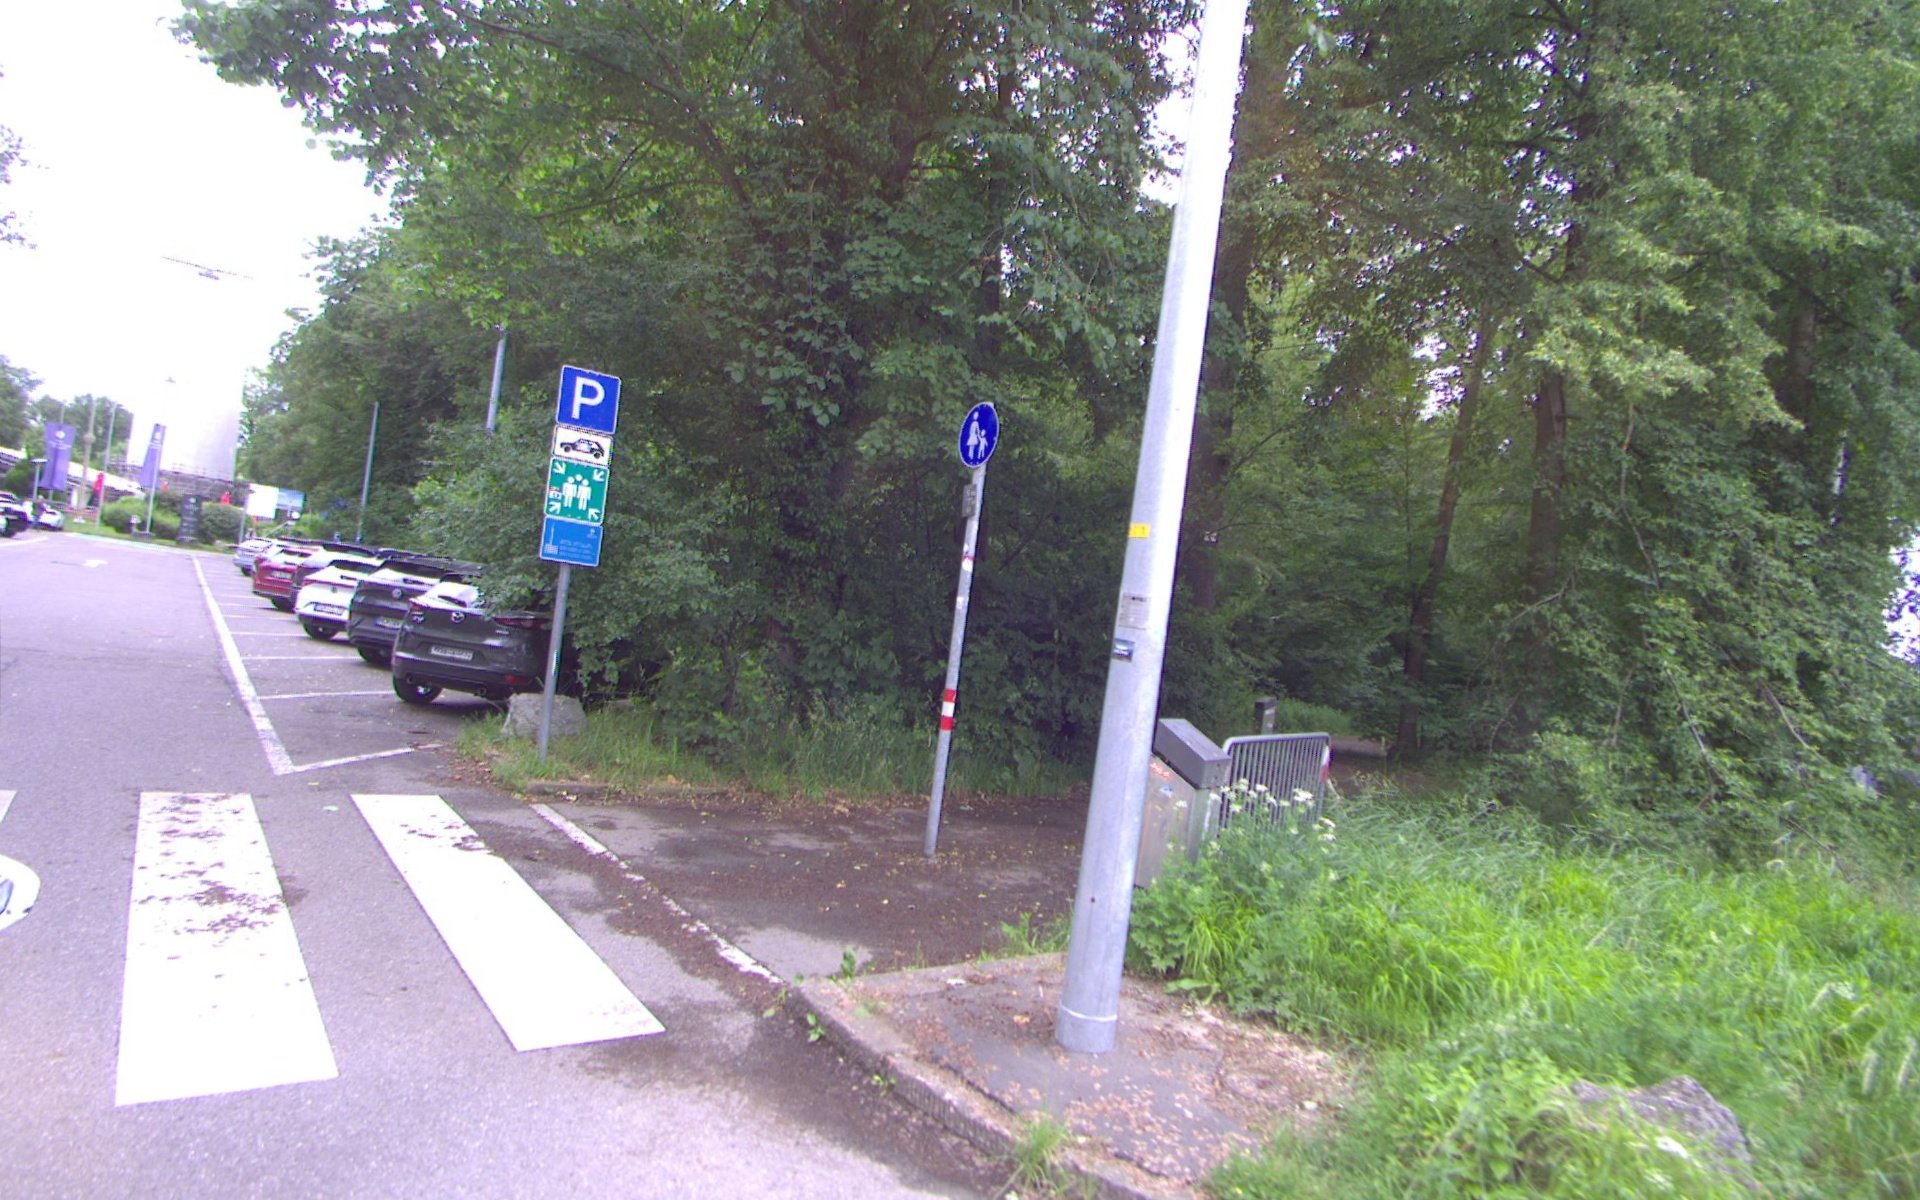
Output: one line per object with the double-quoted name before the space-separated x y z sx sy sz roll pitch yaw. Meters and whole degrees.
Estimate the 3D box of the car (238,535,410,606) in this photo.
"car" -18.168 -0.787 29.017 1.770 1.474 4.192 8 -2 8

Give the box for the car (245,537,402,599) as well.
"car" -20.403 -0.961 32.506 1.928 1.393 4.268 8 -2 5

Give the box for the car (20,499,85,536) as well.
"car" -45.986 -4.159 51.060 1.884 1.445 3.960 9 -2 -36

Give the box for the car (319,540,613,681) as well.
"car" -7.201 0.249 15.272 1.921 1.598 4.209 8 -2 5

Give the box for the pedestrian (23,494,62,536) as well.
"pedestrian" -42.678 -3.942 46.807 0.750 1.745 0.898 8 -1 9

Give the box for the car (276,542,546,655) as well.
"car" -9.391 0.073 17.669 1.834 1.454 4.126 8 -2 11

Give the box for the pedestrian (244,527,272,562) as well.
"pedestrian" -38.094 -3.020 54.601 0.752 1.745 0.894 8 -1 -14

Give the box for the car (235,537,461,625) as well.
"car" -13.882 -0.354 23.164 1.891 1.429 4.303 8 -2 12

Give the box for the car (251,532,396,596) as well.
"car" -22.623 -1.227 35.956 1.928 1.655 4.268 8 -2 8

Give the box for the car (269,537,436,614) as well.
"car" -15.963 -0.595 26.661 1.702 1.522 3.587 8 -2 10

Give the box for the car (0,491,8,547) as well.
"car" -27.557 -2.406 26.019 4.111 1.615 1.848 8 -1 5

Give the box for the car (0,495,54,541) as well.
"car" -36.484 -3.292 37.305 4.198 1.460 1.762 8 -2 5

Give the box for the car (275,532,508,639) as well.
"car" -11.527 -0.200 20.787 1.807 1.636 4.126 8 -2 11

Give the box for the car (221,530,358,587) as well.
"car" -24.905 -1.499 37.538 1.800 1.484 4.005 8 -2 12

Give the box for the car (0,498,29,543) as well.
"car" -34.832 -3.045 34.758 3.773 1.460 1.775 8 -2 8

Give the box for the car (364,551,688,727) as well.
"car" -4.807 0.491 11.813 1.667 1.509 3.797 8 -2 6

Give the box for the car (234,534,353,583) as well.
"car" -28.944 -1.757 43.863 1.863 1.478 4.211 8 -2 8
